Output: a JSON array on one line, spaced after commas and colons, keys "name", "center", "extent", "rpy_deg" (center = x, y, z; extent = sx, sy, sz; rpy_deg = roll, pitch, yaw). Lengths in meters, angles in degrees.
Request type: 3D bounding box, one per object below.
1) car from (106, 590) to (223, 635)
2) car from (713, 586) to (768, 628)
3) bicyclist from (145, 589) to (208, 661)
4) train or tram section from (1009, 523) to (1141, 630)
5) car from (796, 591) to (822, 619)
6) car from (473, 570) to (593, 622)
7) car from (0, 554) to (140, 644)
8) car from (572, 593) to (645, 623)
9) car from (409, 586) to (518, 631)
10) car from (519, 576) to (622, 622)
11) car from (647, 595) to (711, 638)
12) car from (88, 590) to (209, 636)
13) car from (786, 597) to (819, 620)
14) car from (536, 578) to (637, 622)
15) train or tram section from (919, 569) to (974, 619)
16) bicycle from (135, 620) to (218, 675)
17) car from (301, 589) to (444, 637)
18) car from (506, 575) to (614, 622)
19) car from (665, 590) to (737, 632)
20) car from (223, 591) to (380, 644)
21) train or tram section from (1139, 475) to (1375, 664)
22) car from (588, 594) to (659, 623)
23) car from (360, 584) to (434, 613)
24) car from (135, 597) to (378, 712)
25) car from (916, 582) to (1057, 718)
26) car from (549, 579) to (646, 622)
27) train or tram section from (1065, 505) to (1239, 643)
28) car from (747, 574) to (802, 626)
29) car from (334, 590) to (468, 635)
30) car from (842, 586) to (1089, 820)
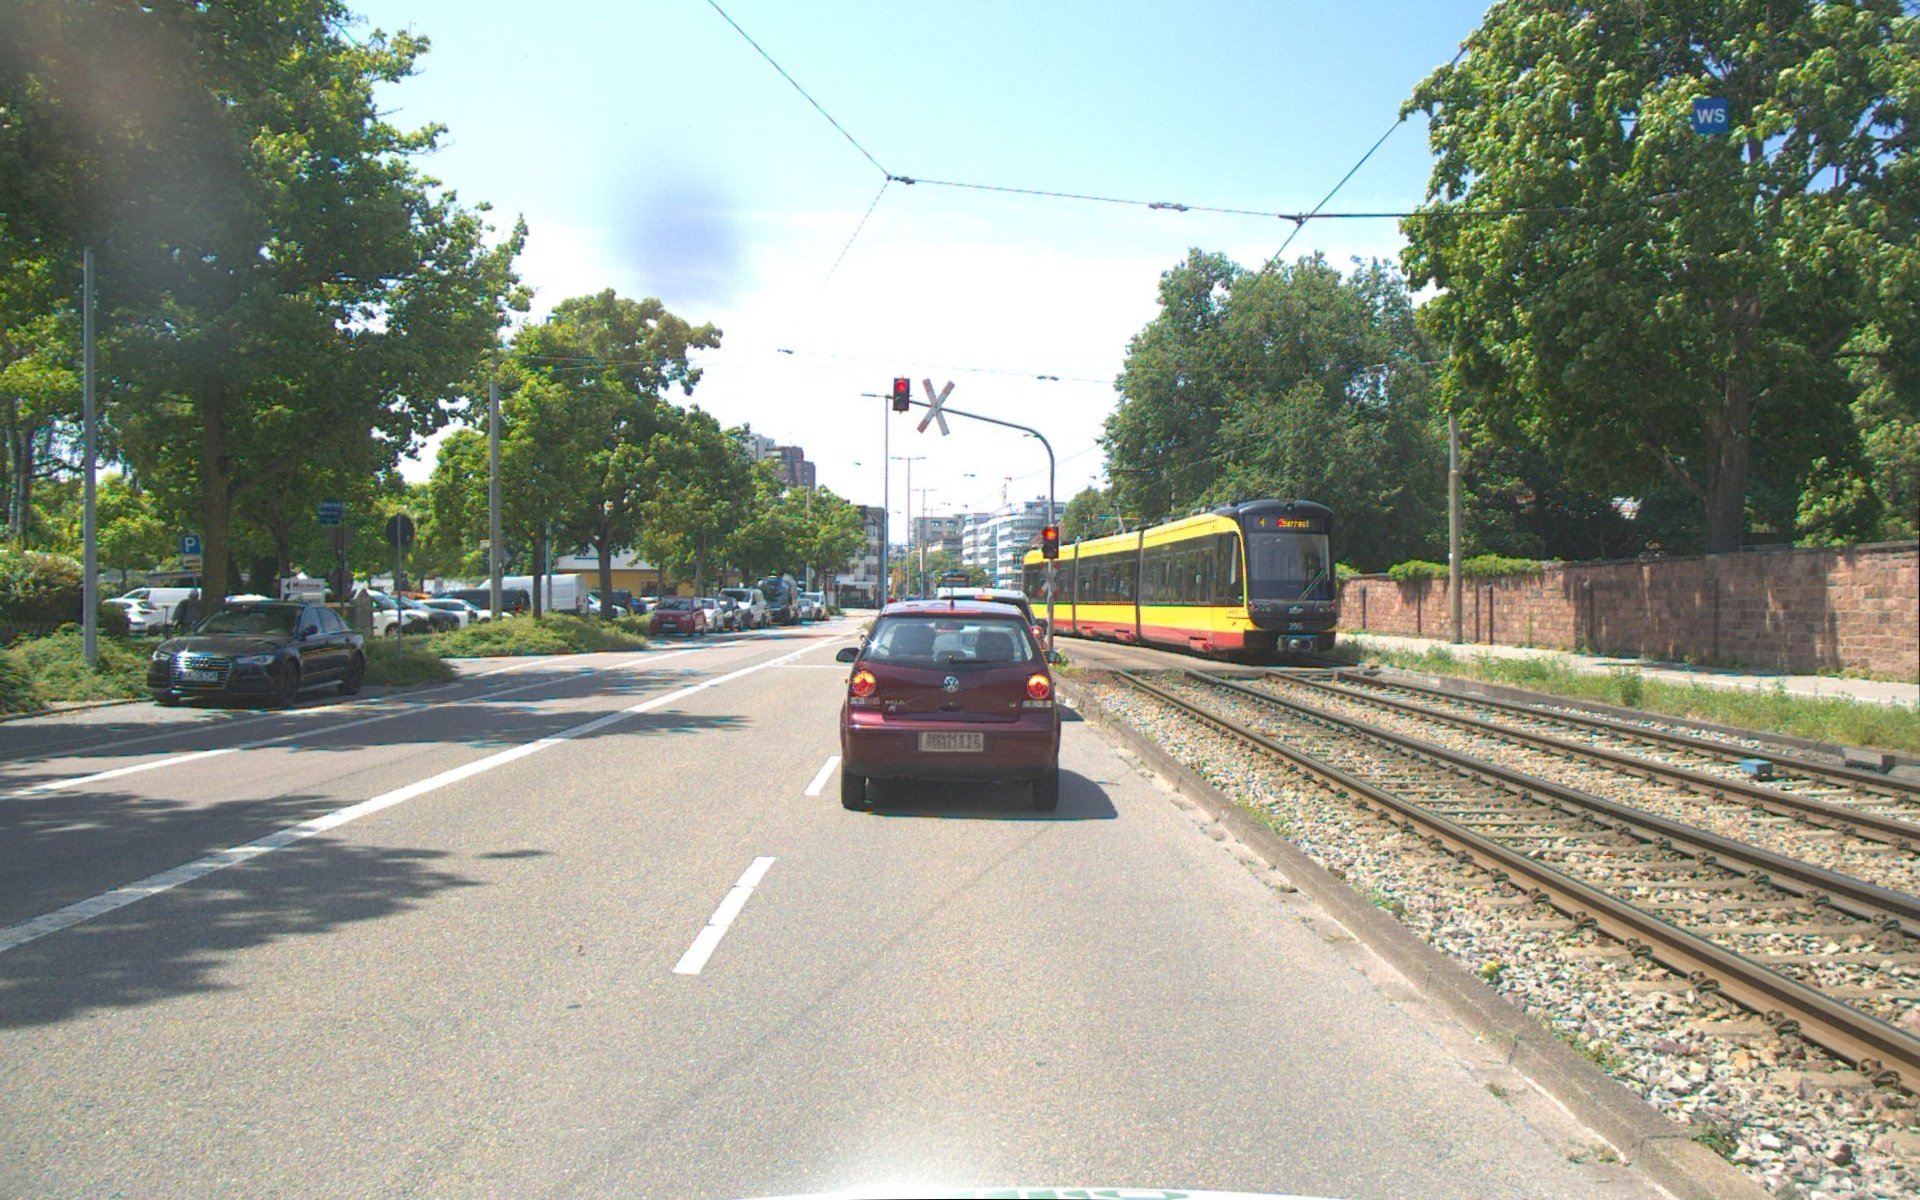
[{"name": "car", "center": [-32.999, 0.531, 68.687], "extent": [3.913, 1.682, 1.812], "rpy_deg": [2, -1, -9]}, {"name": "car", "center": [-10.486, 0.361, 79.388], "extent": [1.746, 1.914, 4.787], "rpy_deg": [2, -1, 2]}, {"name": "bicyclist", "center": [-15.706, 0.503, 33.171], "extent": [0.792, 1.398, 0.828], "rpy_deg": [2, -1, 2]}, {"name": "train or tram section", "center": [4.338, -0.890, 65.957], "extent": [2.970, 3.864, 12.741], "rpy_deg": [0, 0, -7]}, {"name": "car", "center": [-10.585, 0.328, 115.711], "extent": [1.741, 1.860, 3.995], "rpy_deg": [2, -1, -6]}, {"name": "car", "center": [-20.376, -0.189, 79.120], "extent": [4.992, 2.283, 2.378], "rpy_deg": [2, -1, 0]}, {"name": "car", "center": [-33.163, -0.075, 58.787], "extent": [6.714, 3.017, 2.363], "rpy_deg": [2, -1, -2]}, {"name": "car", "center": [-21.213, 0.472, 99.789], "extent": [3.938, 1.645, 1.816], "rpy_deg": [2, -1, 0]}, {"name": "car", "center": [-20.559, 0.343, 68.560], "extent": [3.906, 1.776, 1.998], "rpy_deg": [0, 0, -2]}, {"name": "car", "center": [-21.235, -0.034, 90.322], "extent": [4.992, 2.283, 2.378], "rpy_deg": [2, -1, 0]}, {"name": "car", "center": [-10.599, 0.629, 62.597], "extent": [1.628, 1.523, 4.000], "rpy_deg": [2, -1, 1]}, {"name": "car", "center": [-32.509, 0.524, 66.349], "extent": [3.913, 1.682, 1.812], "rpy_deg": [2, -1, -9]}, {"name": "car", "center": [-10.472, 0.590, 110.031], "extent": [1.581, 1.466, 4.001], "rpy_deg": [2, -1, 3]}, {"name": "car", "center": [-20.916, 0.004, 92.797], "extent": [4.992, 2.283, 2.378], "rpy_deg": [2, -1, 0]}, {"name": "train or tram section", "center": [-1.167, -0.508, 129.991], "extent": [2.689, 3.672, 12.849], "rpy_deg": [2, 0, -7]}, {"name": "bicycle", "center": [-15.715, 0.936, 33.233], "extent": [0.686, 1.047, 1.829], "rpy_deg": [2, -1, 2]}, {"name": "car", "center": [-20.503, 0.454, 57.816], "extent": [4.251, 1.612, 1.914], "rpy_deg": [0, 0, 5]}, {"name": "car", "center": [-21.043, -0.062, 87.135], "extent": [4.992, 2.283, 2.378], "rpy_deg": [2, -1, 0]}, {"name": "car", "center": [-10.785, 0.482, 69.144], "extent": [1.934, 1.629, 4.560], "rpy_deg": [2, -1, 4]}, {"name": "car", "center": [-21.006, 0.539, 52.865], "extent": [4.256, 1.612, 1.912], "rpy_deg": [0, 0, -3]}, {"name": "train or tram section", "center": [6.760, -0.657, 40.262], "extent": [2.967, 3.864, 13.084], "rpy_deg": [0, 0, -2]}, {"name": "car", "center": [-20.909, 0.517, 102.869], "extent": [3.938, 1.645, 1.816], "rpy_deg": [2, -1, 0]}, {"name": "car", "center": [-35.332, -0.094, 103.837], "extent": [3.939, 1.645, 1.816], "rpy_deg": [2, -1, -2]}, {"name": "car", "center": [-10.402, 0.741, 24.849], "extent": [1.782, 1.502, 4.448], "rpy_deg": [2, 0, -1]}, {"name": "car", "center": [0.287, 0.625, 22.990], "extent": [1.741, 1.676, 3.999], "rpy_deg": [2, 0, -2]}, {"name": "car", "center": [-20.848, 0.033, 95.329], "extent": [4.992, 2.283, 2.378], "rpy_deg": [2, -1, 0]}, {"name": "train or tram section", "center": [5.830, -0.771, 53.196], "extent": [2.969, 3.864, 13.075], "rpy_deg": [0, 0, -5]}, {"name": "car", "center": [-10.326, 0.012, 92.435], "extent": [2.313, 2.739, 5.307], "rpy_deg": [2, -1, 0]}, {"name": "car", "center": [-20.427, 0.440, 60.529], "extent": [4.251, 1.612, 1.914], "rpy_deg": [0, 0, 5]}, {"name": "car", "center": [-0.011, 0.693, 13.253], "extent": [1.638, 1.548, 3.999], "rpy_deg": [2, 0, -1]}]
